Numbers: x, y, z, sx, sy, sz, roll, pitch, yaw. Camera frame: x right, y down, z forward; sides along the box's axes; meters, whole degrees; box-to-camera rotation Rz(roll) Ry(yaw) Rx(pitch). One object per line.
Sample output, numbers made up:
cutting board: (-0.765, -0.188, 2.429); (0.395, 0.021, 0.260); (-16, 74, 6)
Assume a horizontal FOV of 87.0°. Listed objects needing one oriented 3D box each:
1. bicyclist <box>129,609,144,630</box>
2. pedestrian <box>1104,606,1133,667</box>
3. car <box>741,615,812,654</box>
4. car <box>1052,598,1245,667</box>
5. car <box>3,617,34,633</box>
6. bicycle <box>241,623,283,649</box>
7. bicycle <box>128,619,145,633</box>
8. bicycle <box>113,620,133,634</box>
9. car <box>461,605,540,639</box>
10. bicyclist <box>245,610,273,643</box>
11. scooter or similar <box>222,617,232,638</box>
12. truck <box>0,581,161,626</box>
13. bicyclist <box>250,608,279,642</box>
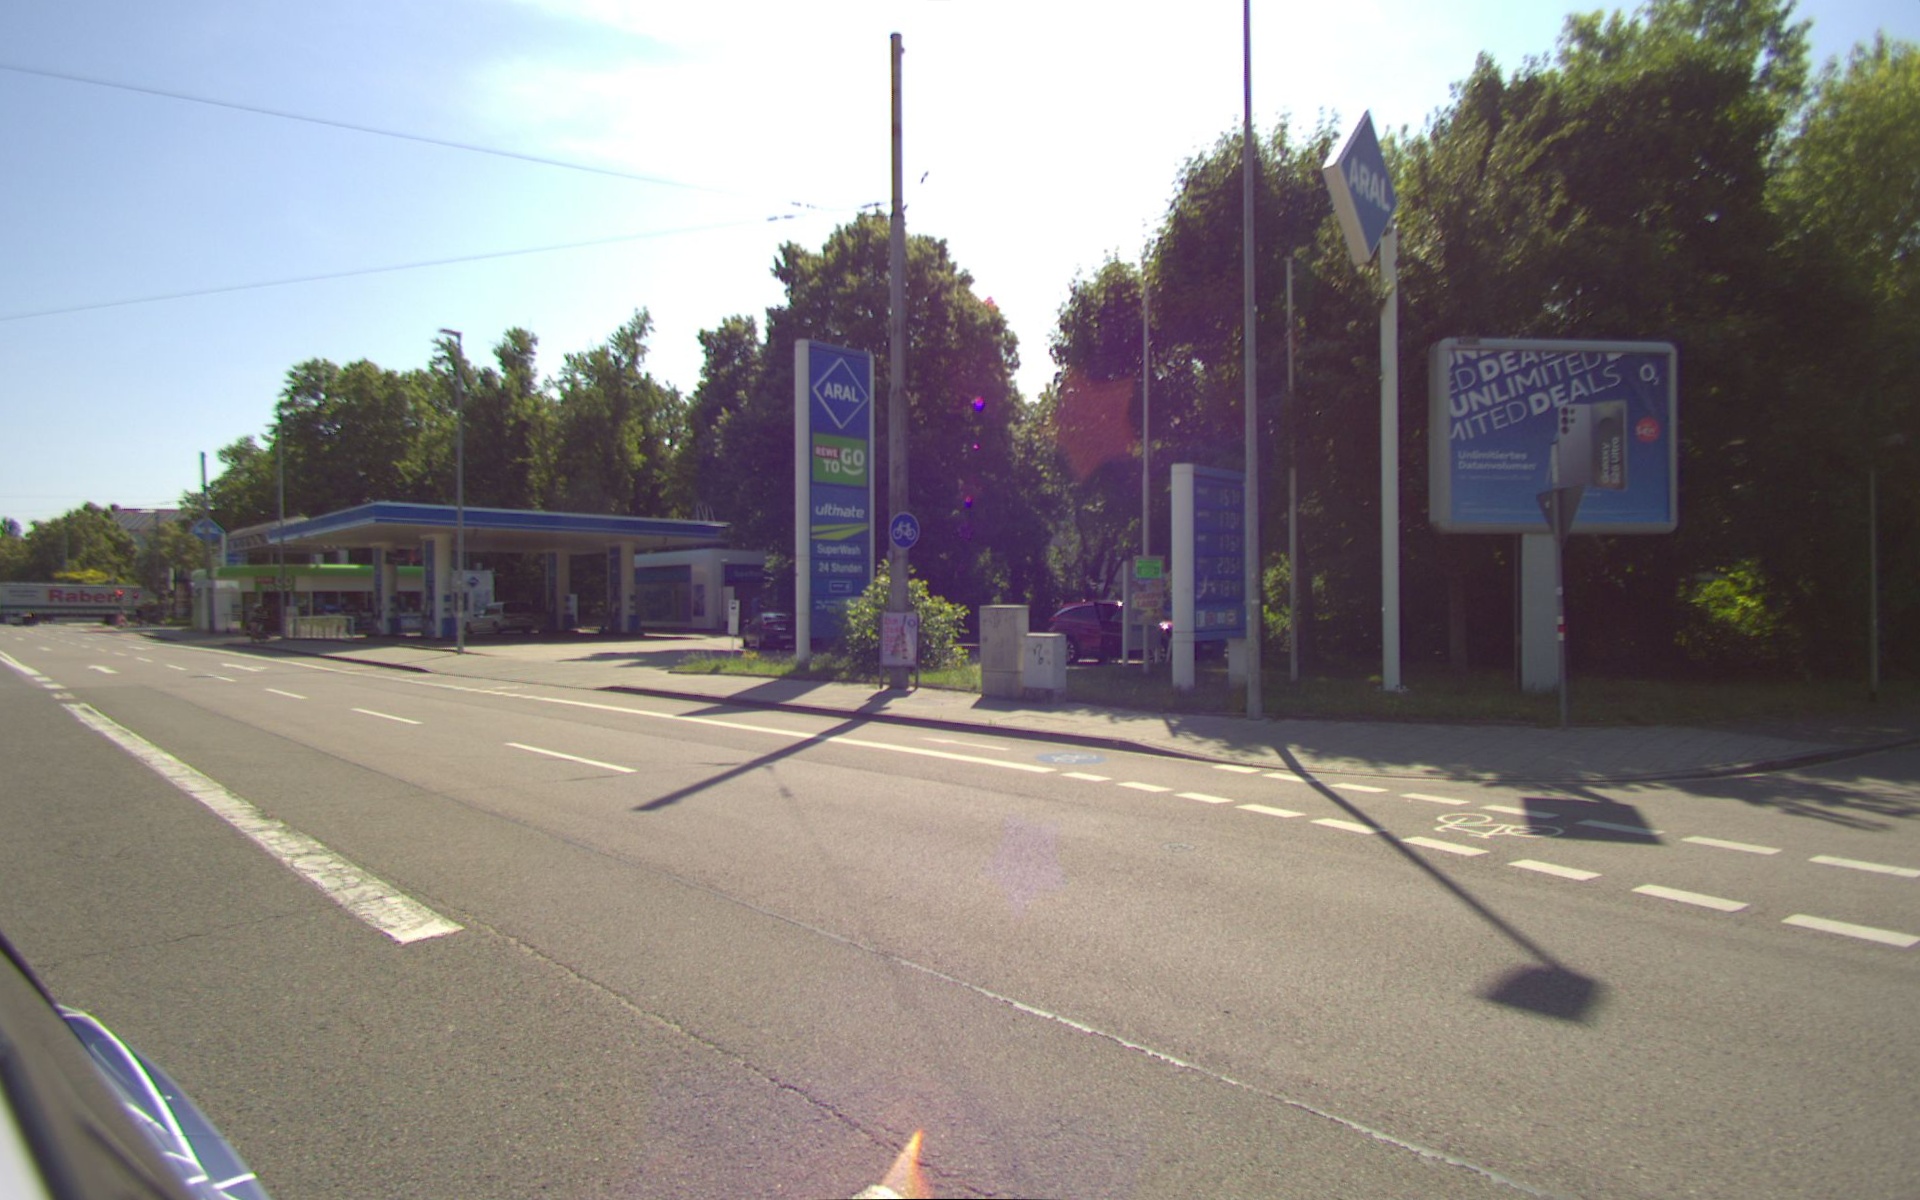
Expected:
bicyclist: (-68.801, 1.635, 84.534); (0.827, 1.687, 0.826); (-3, -1, 43)
pedestrian: (3.916, 0.890, 25.048); (0.500, 1.492, 0.493); (-1, -1, 44)
car: (-7.036, 1.261, 38.437); (1.774, 1.356, 4.257); (0, -1, -23)
car: (4.648, 0.820, 25.399); (4.518, 1.582, 1.779); (-3, -2, 44)
car: (-100.610, 2.710, 108.104); (4.391, 1.522, 1.734); (-3, -2, 38)
bicycle: (-30.733, 1.562, 44.532); (2.770, 1.103, 0.817); (-1, -1, 40)
bicycle: (-68.895, 2.162, 84.640); (0.926, 1.184, 2.212); (0, -1, -45)
bicycle: (-68.340, 2.214, 82.633); (2.071, 1.066, 0.744); (-1, -1, 35)
car: (-25.374, 1.193, 55.790); (5.964, 1.795, 1.824); (-1, -1, 43)
bicyclist: (-31.183, 1.182, 45.025); (0.832, 1.446, 0.838); (-3, -1, 42)
scooter or similar: (-44.339, 1.660, 61.215); (0.435, 1.247, 1.348); (0, -1, -36)
truck: (-85.007, 0.399, 96.188); (2.845, 4.037, 14.147); (-1, -1, 32)
bicyclist: (-30.529, 1.108, 44.433); (0.832, 1.446, 0.838); (-3, -2, 41)
